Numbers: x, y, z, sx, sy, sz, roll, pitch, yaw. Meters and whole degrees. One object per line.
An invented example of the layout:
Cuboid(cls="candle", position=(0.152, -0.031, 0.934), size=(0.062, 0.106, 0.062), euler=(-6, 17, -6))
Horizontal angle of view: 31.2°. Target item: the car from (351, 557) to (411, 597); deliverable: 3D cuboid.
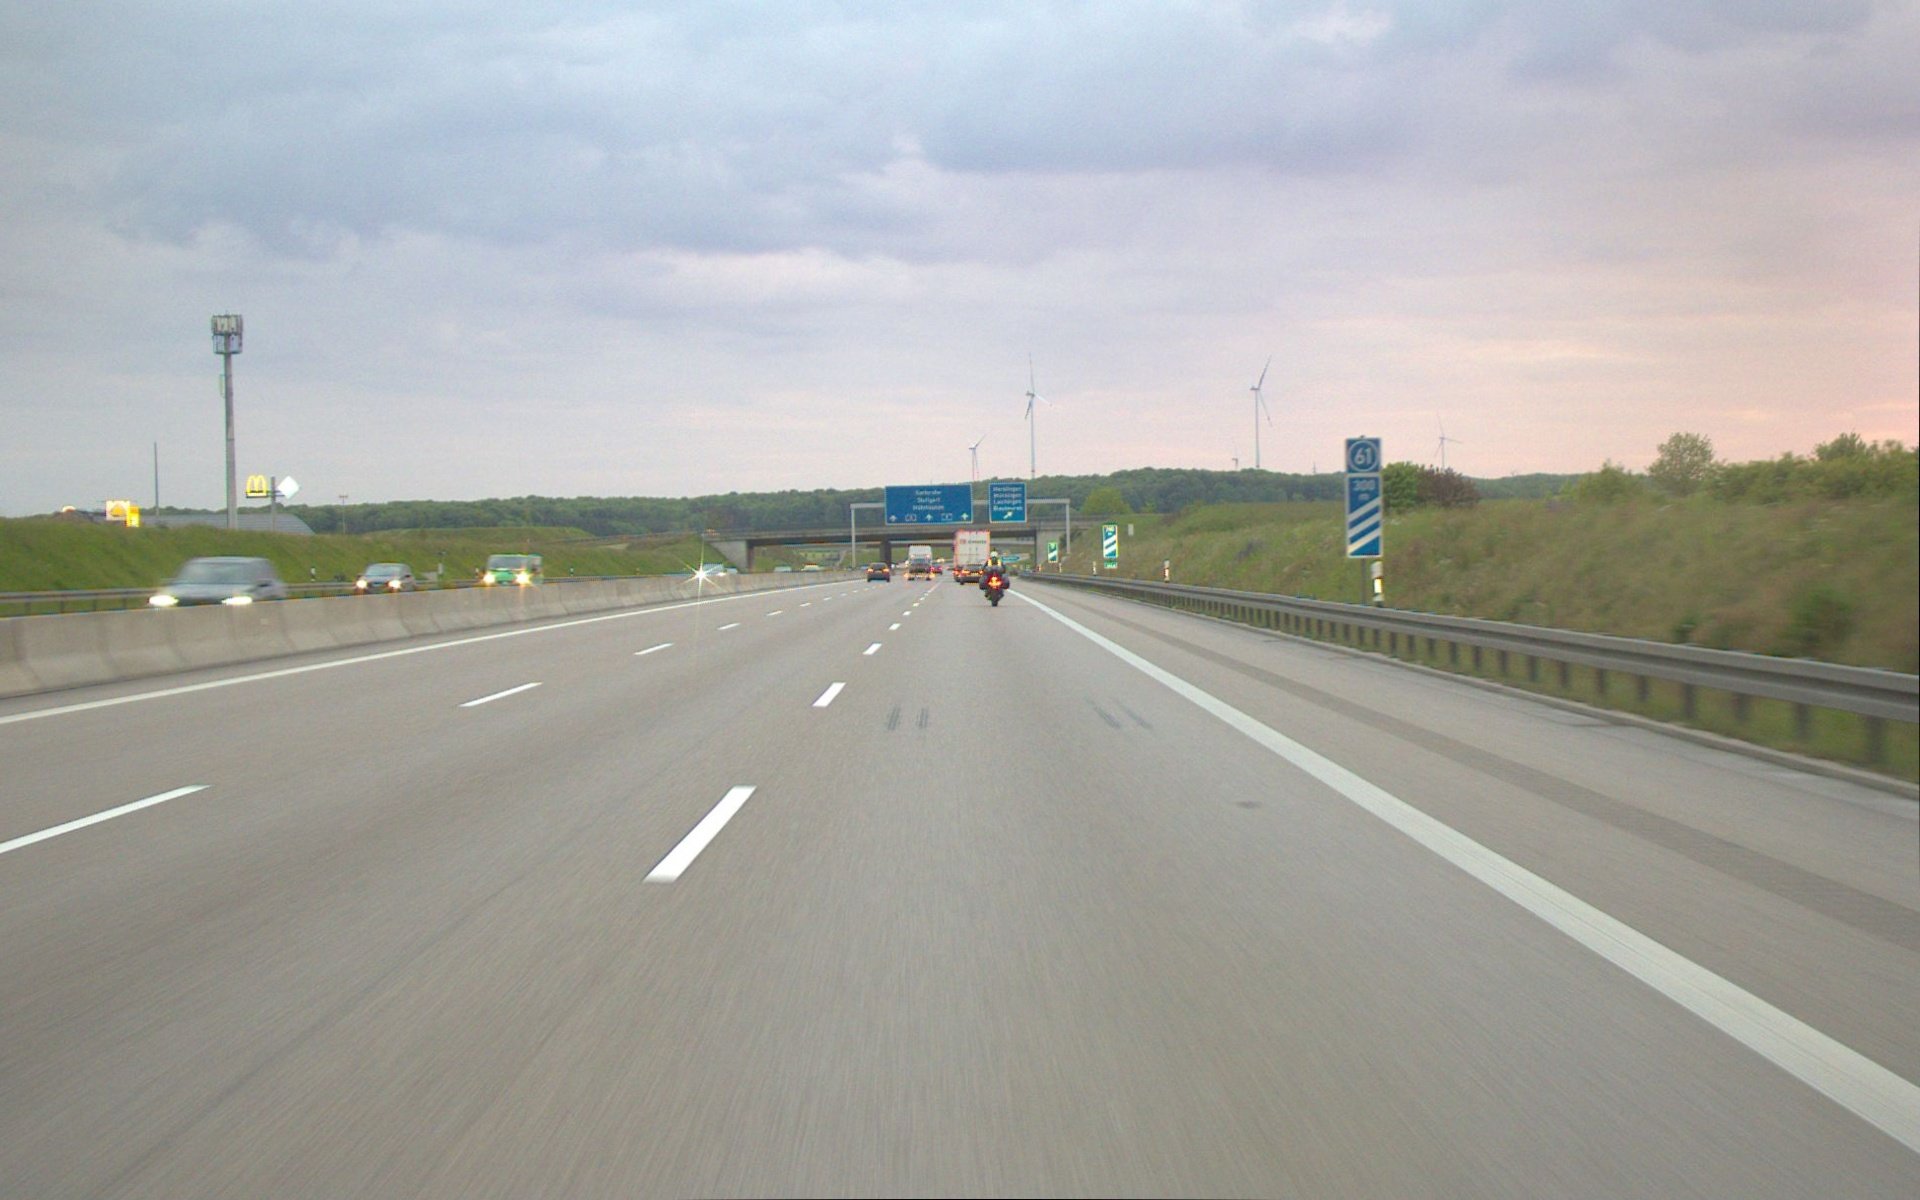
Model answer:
Cuboid(cls="car", position=(-22.534, -0.924, 133.879), size=(1.630, 1.512, 4.427), euler=(0, 1, -1))

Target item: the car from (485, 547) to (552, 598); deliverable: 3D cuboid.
Cuboid(cls="car", position=(-18.000, -1.145, 140.418), size=(2.003, 2.007, 5.737), euler=(-1, 1, 0))

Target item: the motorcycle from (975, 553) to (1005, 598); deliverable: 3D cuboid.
Cuboid(cls="motorcycle", position=(0.910, -0.768, 105.557), size=(0.902, 1.342, 2.349), euler=(0, 1, 0))

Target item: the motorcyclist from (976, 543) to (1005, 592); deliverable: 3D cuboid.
Cuboid(cls="motorcyclist", position=(0.931, -1.002, 105.484), size=(0.866, 1.482, 1.168), euler=(1, 1, 2))

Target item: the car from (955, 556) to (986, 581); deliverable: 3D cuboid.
Cuboid(cls="car", position=(0.687, -2.081, 227.011), size=(1.918, 1.574, 4.000), euler=(0, 1, -1))

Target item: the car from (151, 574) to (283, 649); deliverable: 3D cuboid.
Cuboid(cls="car", position=(-15.254, 0.213, 70.797), size=(1.811, 1.430, 4.671), euler=(-1, 1, -1))
